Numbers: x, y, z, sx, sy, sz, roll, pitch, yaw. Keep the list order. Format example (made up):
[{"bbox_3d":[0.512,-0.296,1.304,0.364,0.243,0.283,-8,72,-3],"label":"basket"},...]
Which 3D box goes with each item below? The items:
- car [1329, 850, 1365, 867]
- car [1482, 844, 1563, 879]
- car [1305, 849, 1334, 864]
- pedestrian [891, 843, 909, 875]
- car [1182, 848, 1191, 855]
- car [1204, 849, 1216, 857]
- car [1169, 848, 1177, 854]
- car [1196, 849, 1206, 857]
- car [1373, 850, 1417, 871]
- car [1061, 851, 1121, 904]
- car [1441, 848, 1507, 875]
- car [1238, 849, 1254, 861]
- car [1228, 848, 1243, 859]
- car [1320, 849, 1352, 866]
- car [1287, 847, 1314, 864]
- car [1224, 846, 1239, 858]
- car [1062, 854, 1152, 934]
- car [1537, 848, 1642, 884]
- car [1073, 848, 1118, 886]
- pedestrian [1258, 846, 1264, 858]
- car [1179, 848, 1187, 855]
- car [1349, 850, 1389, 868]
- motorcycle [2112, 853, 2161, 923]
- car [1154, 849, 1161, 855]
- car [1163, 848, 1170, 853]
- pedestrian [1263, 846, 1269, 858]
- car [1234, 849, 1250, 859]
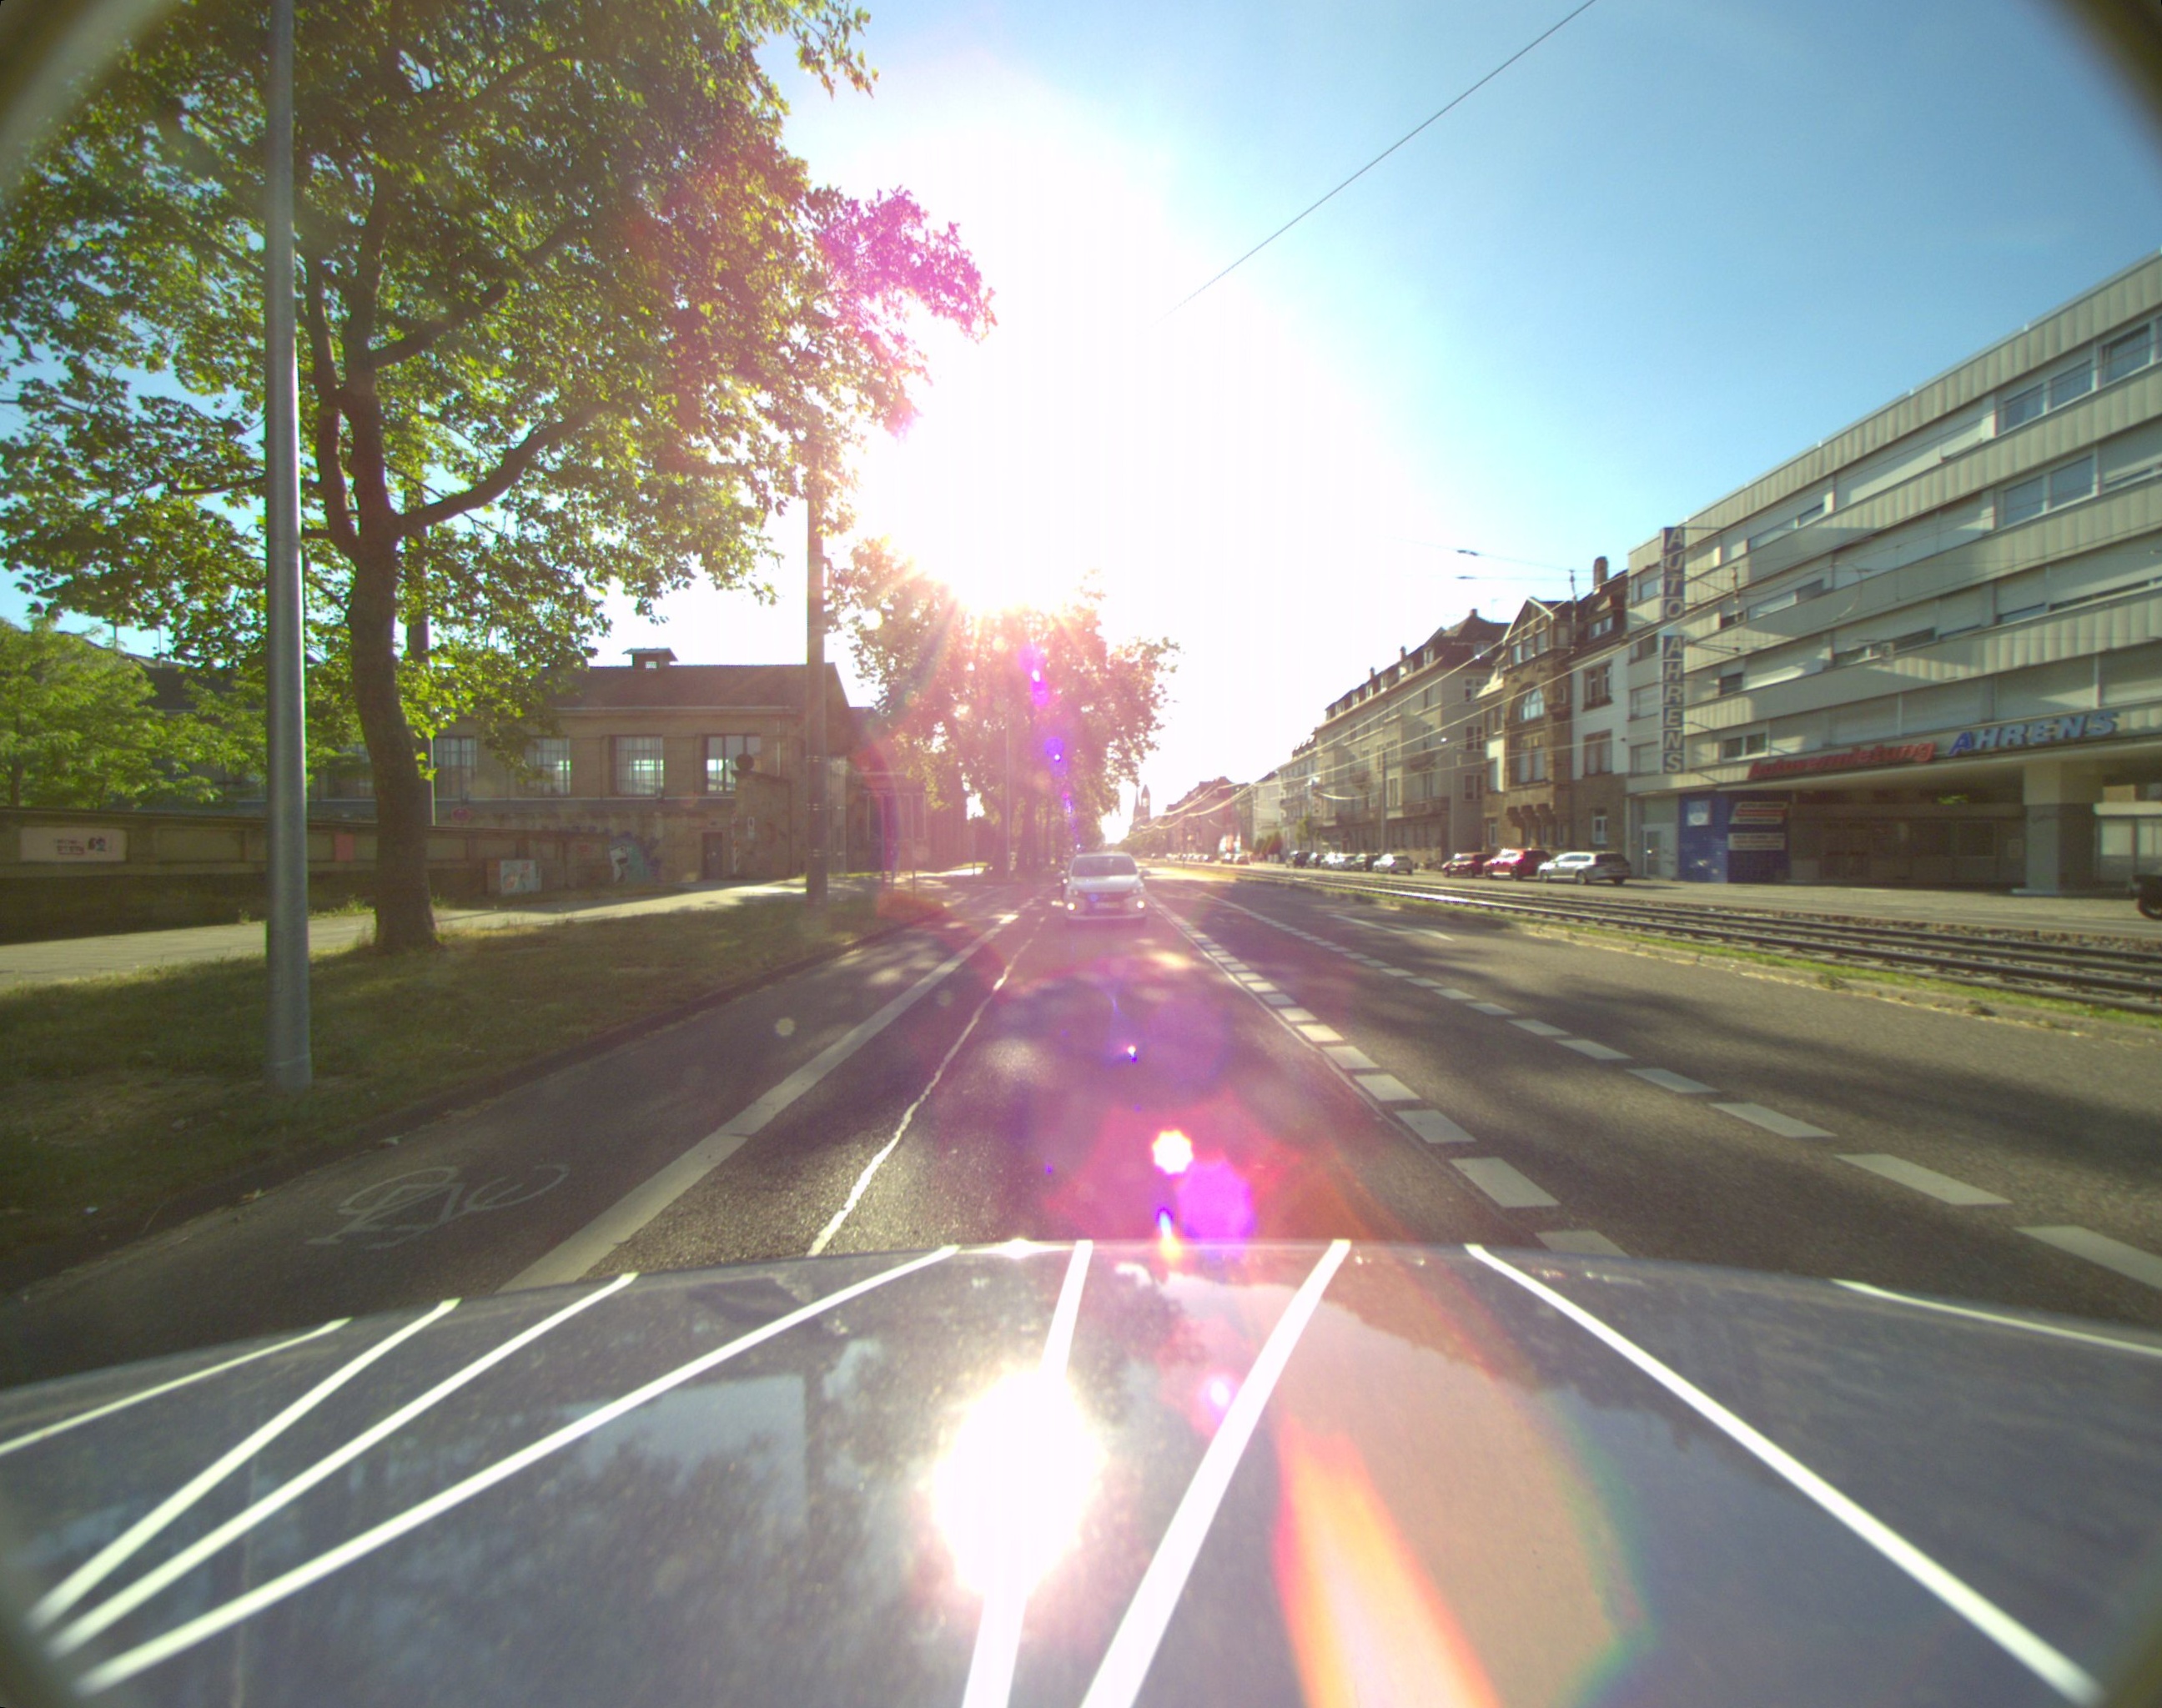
[{"bbox_3d":[23.343,0.370,66.792,1.642,1.438,3.537,-2,0,-6],"label":"car"},{"bbox_3d":[23.306,0.366,40.310,1.860,1.677,4.263,-2,0,2],"label":"car"},{"bbox_3d":[24.315,0.230,77.676,1.802,1.471,3.823,-2,0,1],"label":"car"},{"bbox_3d":[-9.454,0.276,39.663,0.672,1.652,0.874,1,1,2],"label":"pedestrian"},{"bbox_3d":[25.694,-0.528,185.059,1.624,1.581,3.450,-2,1,1],"label":"car"},{"bbox_3d":[24.718,-0.191,145.887,1.624,1.581,3.450,-2,1,1],"label":"car"},{"bbox_3d":[25.257,-0.742,208.222,1.624,1.581,3.450,-2,1,1],"label":"car"},{"bbox_3d":[24.472,-0.269,155.083,1.624,1.581,3.450,-2,1,1],"label":"car"},{"bbox_3d":[23.650,0.431,57.305,1.802,1.471,3.823,-2,0,1],"label":"car"},{"bbox_3d":[0.331,0.675,23.608,1.686,1.462,4.055,-1,0,1],"label":"car"},{"bbox_3d":[23.418,0.453,45.466,1.756,1.487,3.728,-2,0,-5],"label":"car"},{"bbox_3d":[23.763,0.121,109.546,1.677,1.622,3.408,-2,0,1],"label":"car"},{"bbox_3d":[24.417,-0.066,120.001,1.684,1.562,3.388,-2,1,1],"label":"car"},{"bbox_3d":[24.002,0.335,71.734,1.802,1.471,3.823,-2,0,1],"label":"car"},{"bbox_3d":[23.945,0.111,83.104,1.875,1.726,3.915,-2,0,1],"label":"car"},{"bbox_3d":[24.823,-0.364,125.443,1.727,1.776,3.880,-2,1,1],"label":"car"},{"bbox_3d":[0.534,0.770,16.501,1.686,1.462,4.055,-1,0,1],"label":"car"},{"bbox_3d":[23.245,0.498,34.957,1.861,1.490,4.381,-2,0,0],"label":"car"},{"bbox_3d":[0.654,0.516,33.060,1.833,1.543,4.000,0,1,2],"label":"car"},{"bbox_3d":[26.688,-0.331,112.392,0.725,1.779,0.678,0,1,0],"label":"pedestrian"},{"bbox_3d":[25.487,-0.583,190.070,1.624,1.581,3.450,-2,1,1],"label":"car"},{"bbox_3d":[23.701,0.383,62.672,1.802,1.422,3.822,-2,0,-1],"label":"car"},{"bbox_3d":[23.049,0.679,15.951,1.859,1.413,0.629,-3,0,1],"label":"motorcycle"},{"bbox_3d":[21.848,-0.551,217.584,1.822,1.674,4.000,0,0,1],"label":"car"},{"bbox_3d":[26.407,-1.131,235.011,1.624,1.581,3.450,-2,1,1],"label":"car"},{"bbox_3d":[27.330,-0.310,112.368,0.725,1.779,0.678,0,1,0],"label":"pedestrian"},{"bbox_3d":[24.293,-0.007,114.897,1.684,1.562,3.388,-2,1,1],"label":"car"}]
